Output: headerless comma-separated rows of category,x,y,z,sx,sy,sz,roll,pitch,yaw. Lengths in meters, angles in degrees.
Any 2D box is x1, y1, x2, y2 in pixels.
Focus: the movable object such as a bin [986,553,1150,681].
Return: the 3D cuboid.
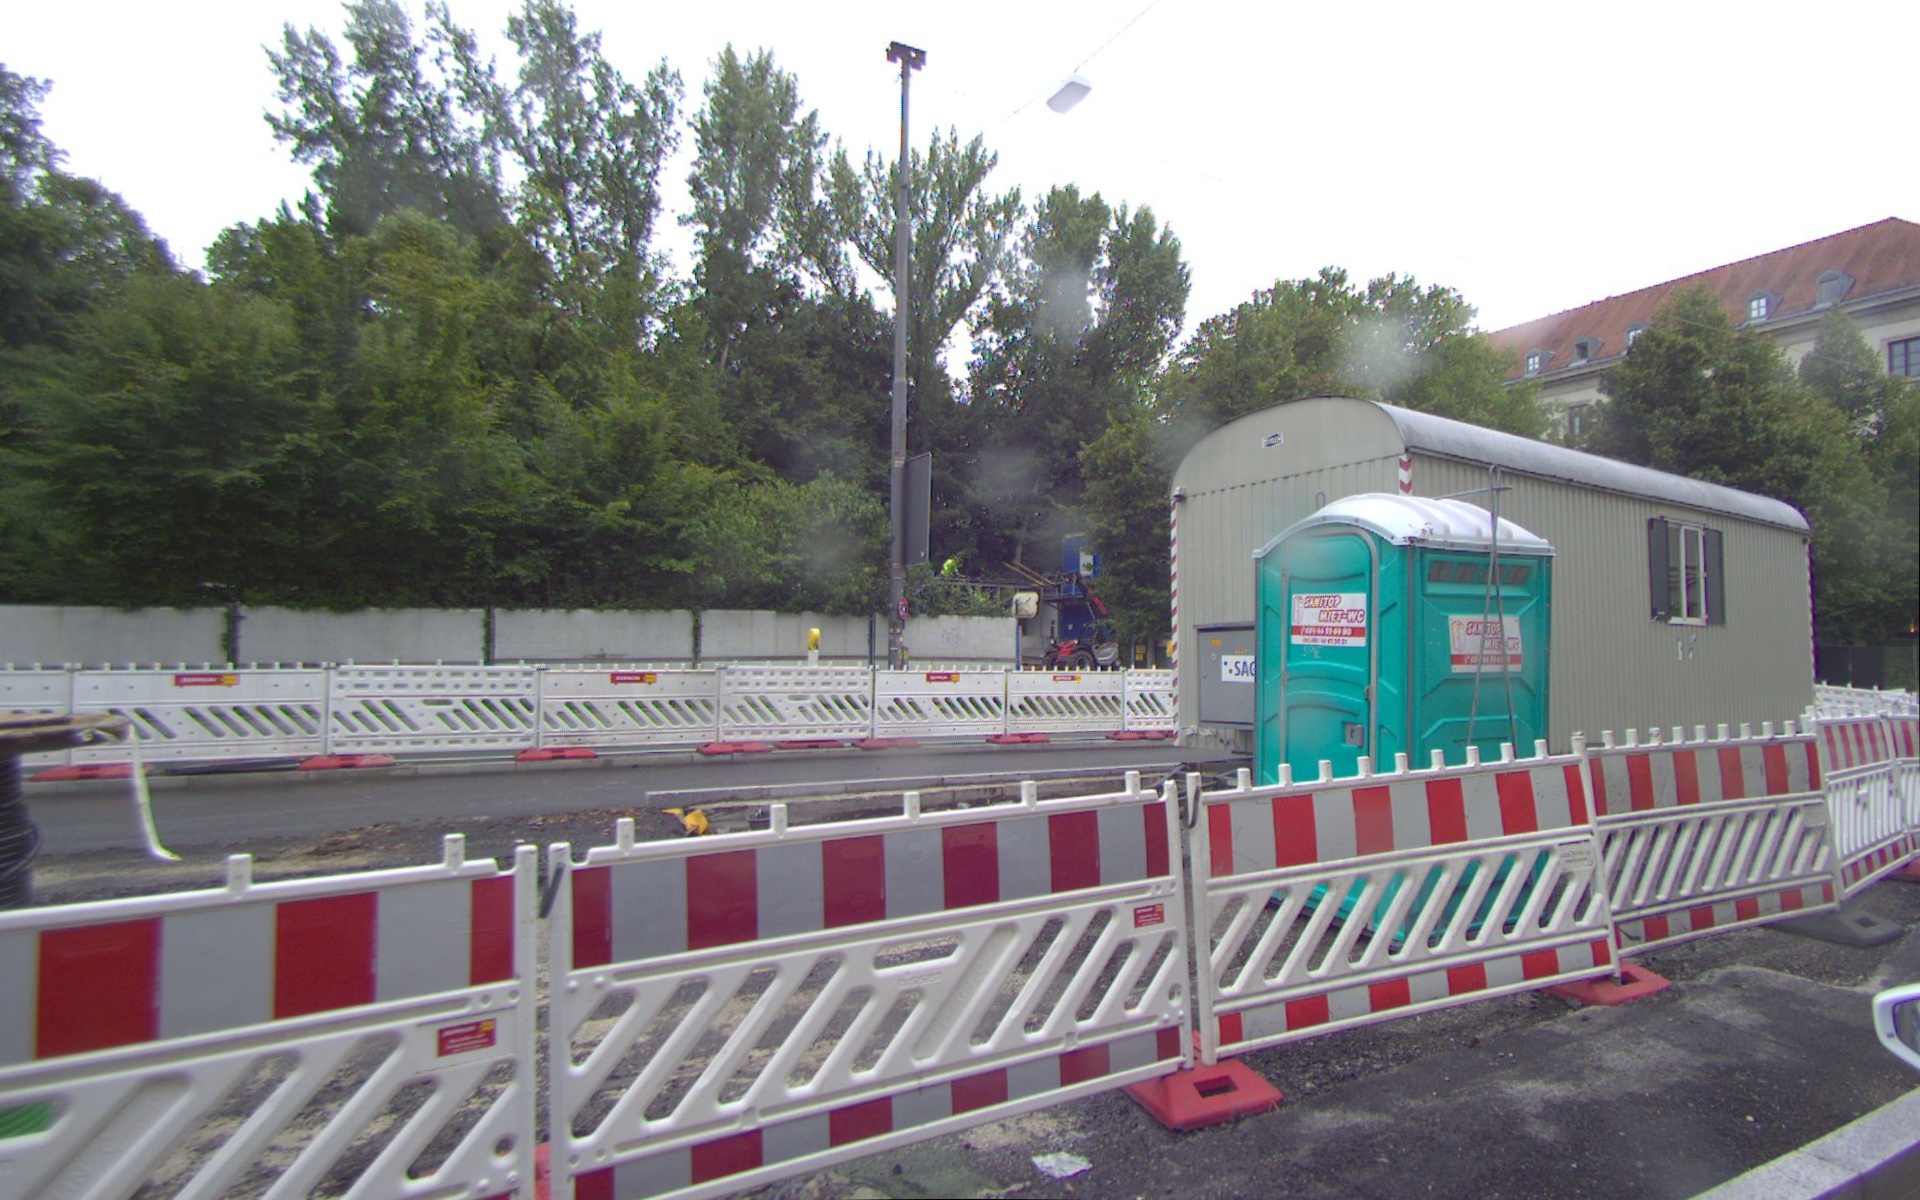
movable object such as a bin,3.667,0.632,33.831,5.006,4.014,2.455,2,-2,-30
